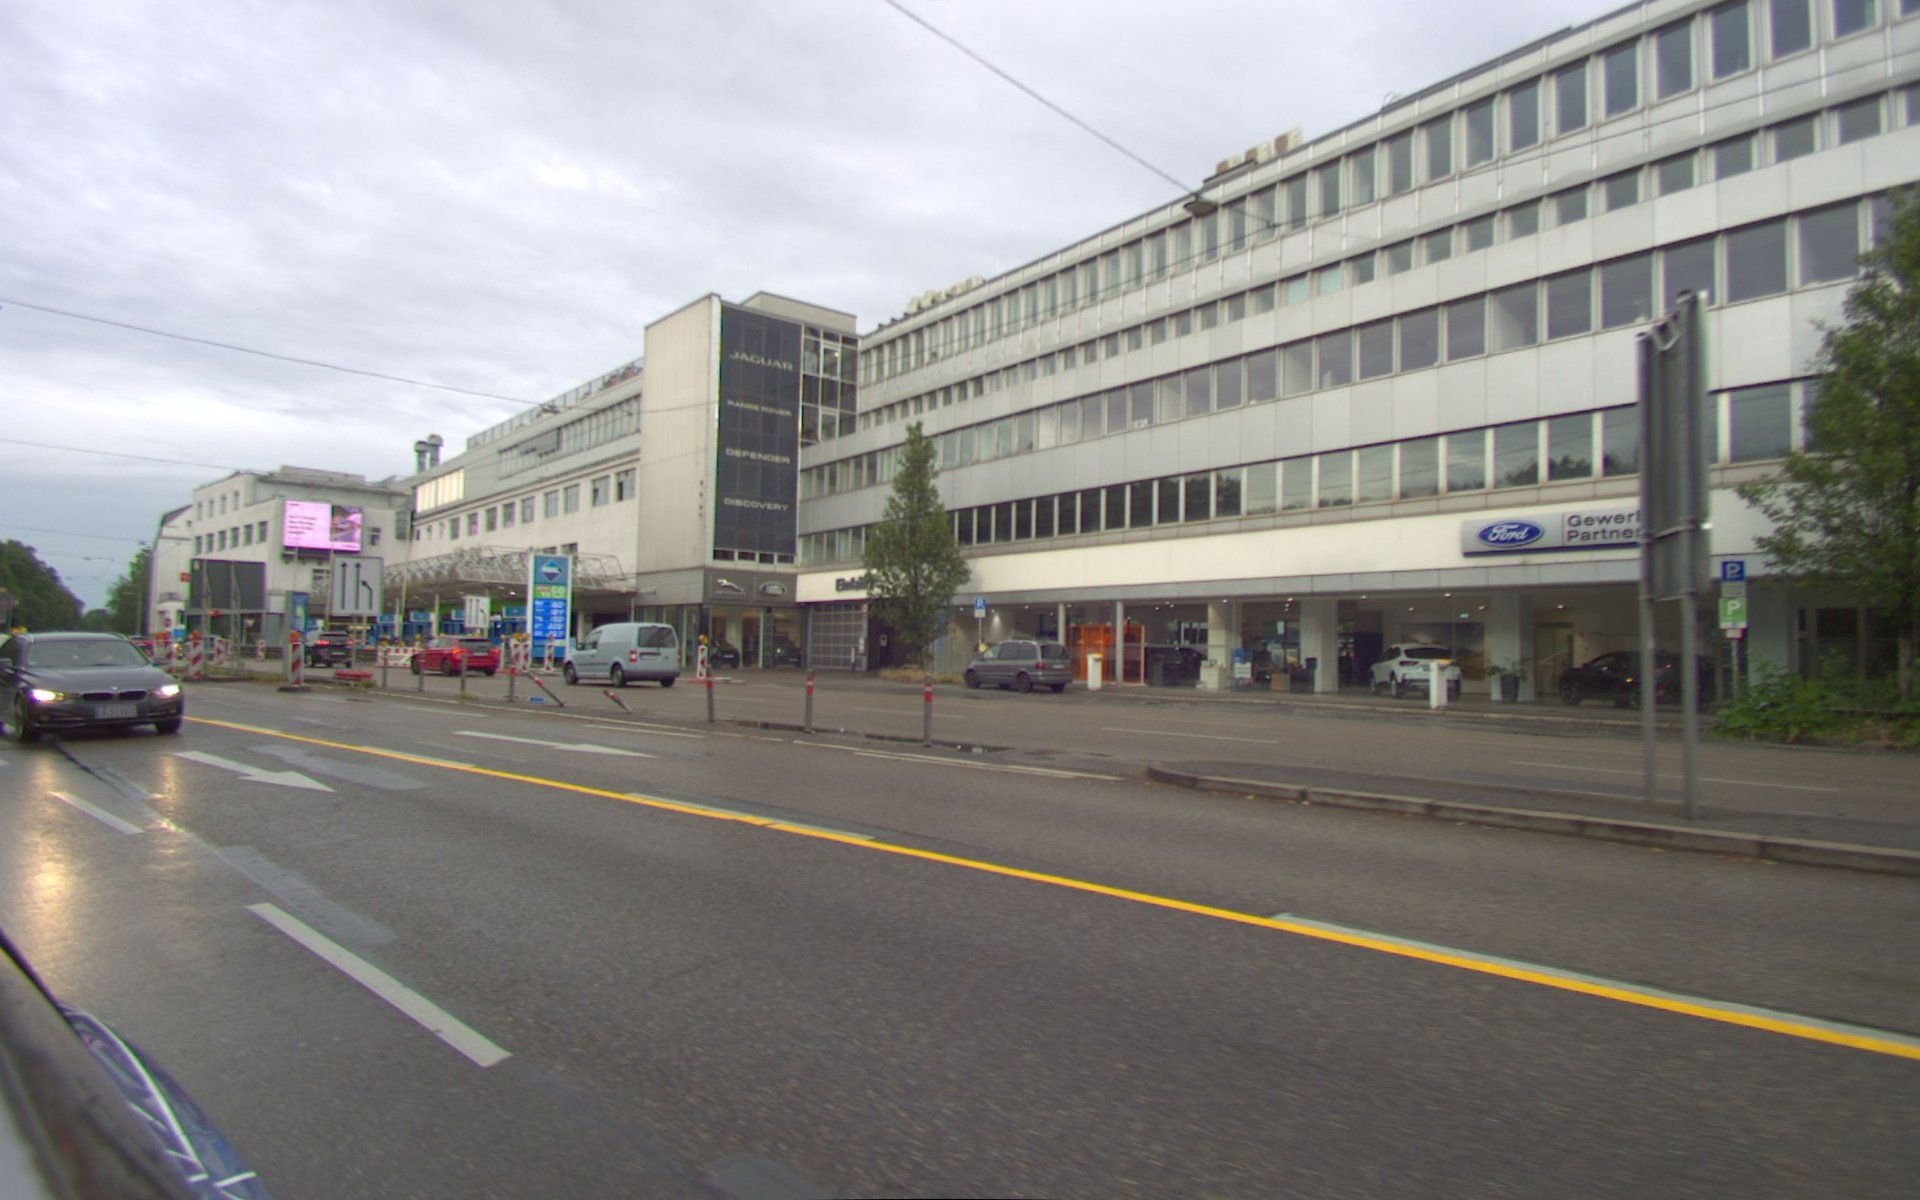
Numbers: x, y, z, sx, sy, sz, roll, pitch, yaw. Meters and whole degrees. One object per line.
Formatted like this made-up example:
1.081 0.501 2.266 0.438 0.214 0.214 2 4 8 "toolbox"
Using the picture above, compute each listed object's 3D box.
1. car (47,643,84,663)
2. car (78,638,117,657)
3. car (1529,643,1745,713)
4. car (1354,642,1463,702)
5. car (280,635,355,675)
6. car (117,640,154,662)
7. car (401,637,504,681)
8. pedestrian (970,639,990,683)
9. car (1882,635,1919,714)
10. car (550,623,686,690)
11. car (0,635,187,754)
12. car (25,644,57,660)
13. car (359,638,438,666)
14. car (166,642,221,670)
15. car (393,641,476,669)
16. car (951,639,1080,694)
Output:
-65.524 3.869 74.106 4.116 1.365 1.670 -2 -5 44 "car"
-81.573 4.441 95.684 4.828 1.720 1.959 -2 -4 41 "car"
16.735 1.915 25.192 1.966 1.586 4.010 4 -5 -34 "car"
13.591 2.191 30.958 1.832 1.664 4.375 1 -4 7 "car"
-29.775 2.520 46.849 4.605 1.751 1.825 -2 -4 44 "car"
-62.791 3.859 77.047 1.731 1.525 4.002 5 -4 -45 "car"
-18.577 2.132 36.978 4.371 1.514 1.810 -2 -5 42 "car"
0.811 2.433 40.368 0.699 1.734 0.667 1 -4 8 "pedestrian"
20.051 1.444 19.277 1.981 1.586 3.981 0 -4 15 "car"
-9.941 1.614 29.281 4.298 1.799 1.716 -2 -5 41 "car"
-12.931 1.251 14.679 4.172 1.461 1.742 -1 -2 38 "car"
-87.411 4.912 96.250 4.286 1.415 1.717 -2 -3 41 "car"
-39.473 3.679 71.293 4.375 1.784 1.970 2 -4 -8 "car"
-45.601 3.314 60.182 4.300 1.570 1.788 -2 -4 42 "car"
-35.030 3.719 67.569 4.409 1.692 2.017 2 -4 -8 "car"
1.870 2.324 35.577 1.824 1.792 4.739 4 -5 -38 "car"
